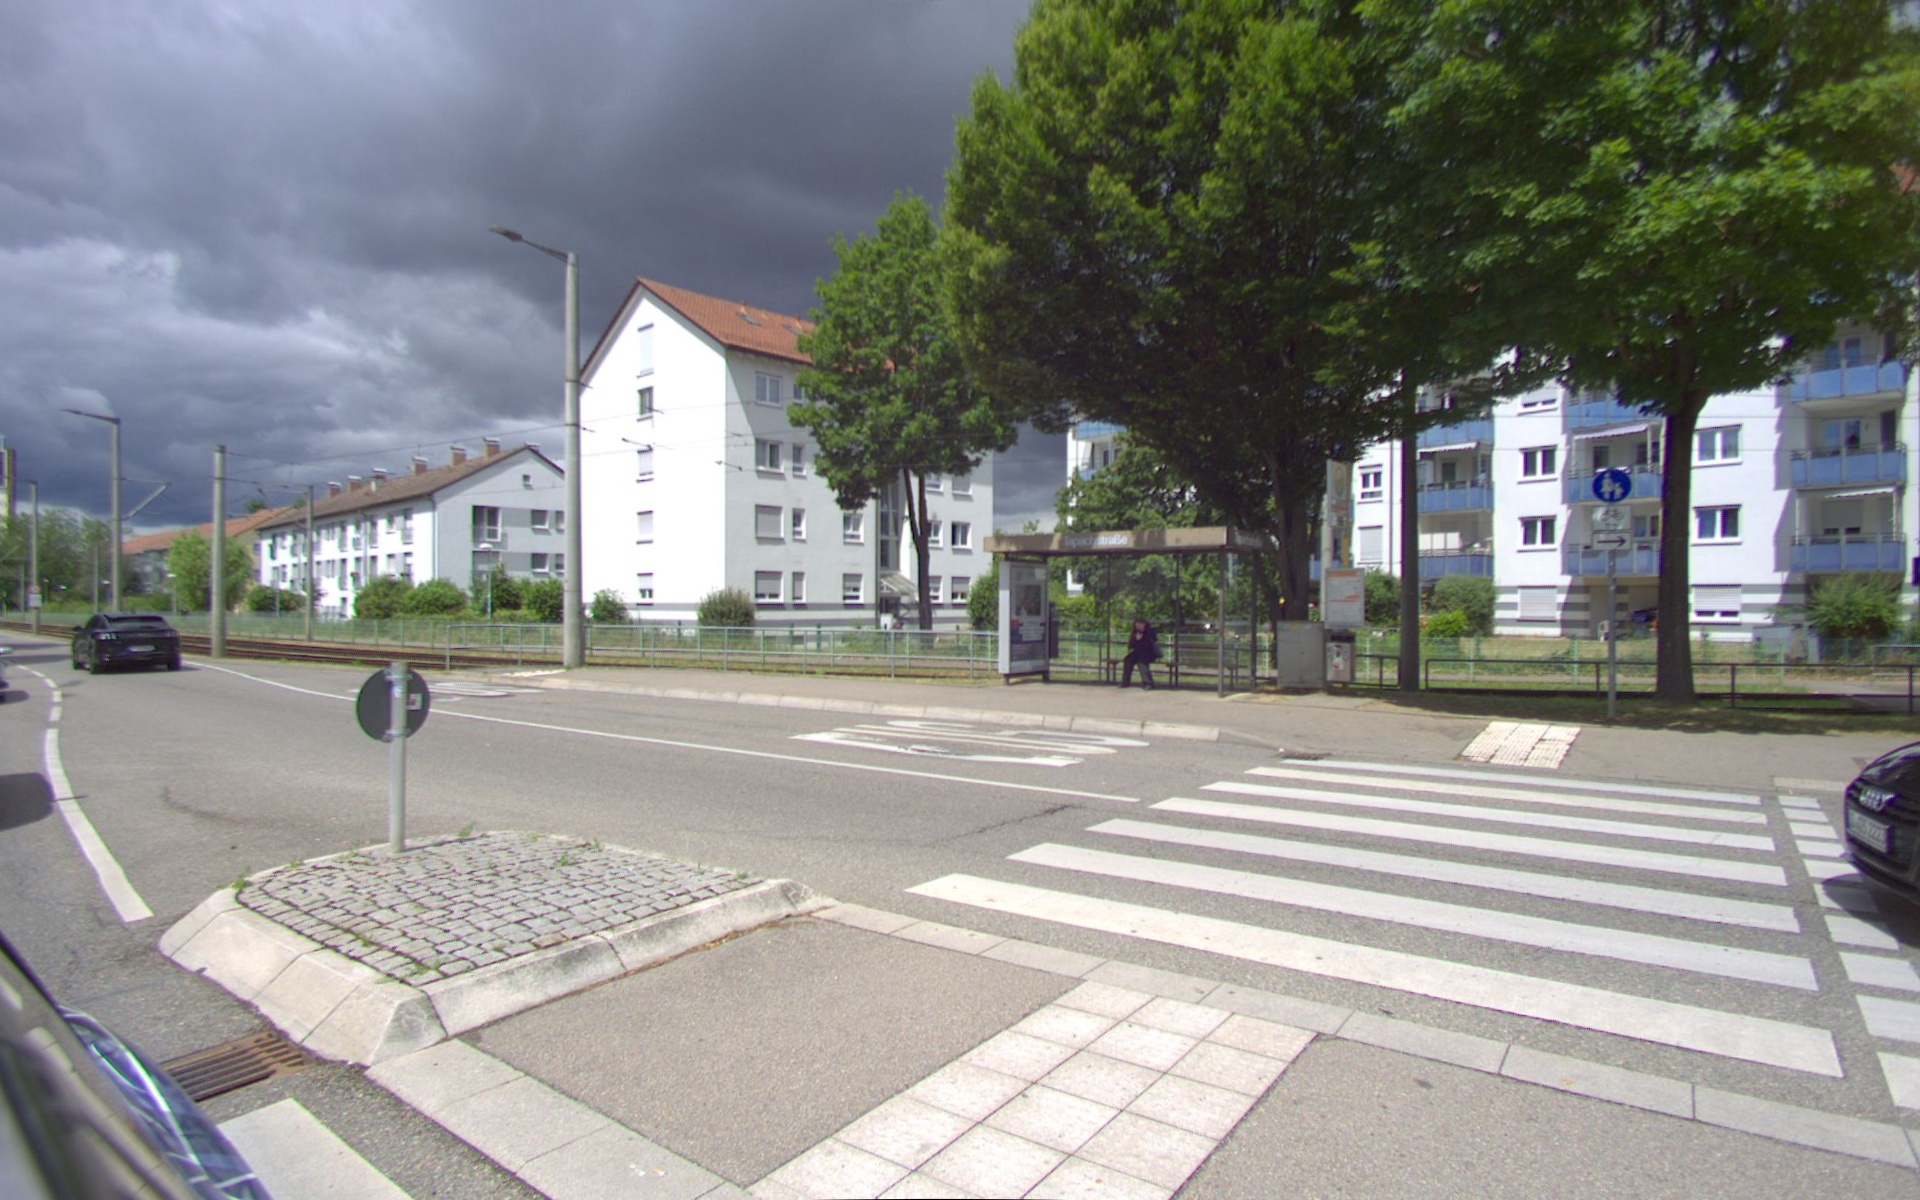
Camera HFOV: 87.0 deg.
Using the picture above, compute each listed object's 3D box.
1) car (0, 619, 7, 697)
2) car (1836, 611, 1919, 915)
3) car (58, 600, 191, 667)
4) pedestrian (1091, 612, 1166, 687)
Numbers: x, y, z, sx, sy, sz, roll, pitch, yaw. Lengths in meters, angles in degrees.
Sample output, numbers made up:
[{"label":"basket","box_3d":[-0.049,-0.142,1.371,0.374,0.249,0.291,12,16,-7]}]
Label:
[{"label":"car","box_3d":[-19.430,1.055,19.159,4.000,1.408,1.740,0,-1,43]},{"label":"car","box_3d":[6.517,0.750,3.749,4.592,1.394,1.808,0,-1,26]},{"label":"car","box_3d":[-22.588,0.831,27.315,4.521,1.537,1.973,2,1,40]},{"label":"pedestrian","box_3d":[2.723,0.779,16.345,0.910,1.144,0.790,-1,0,39]}]
